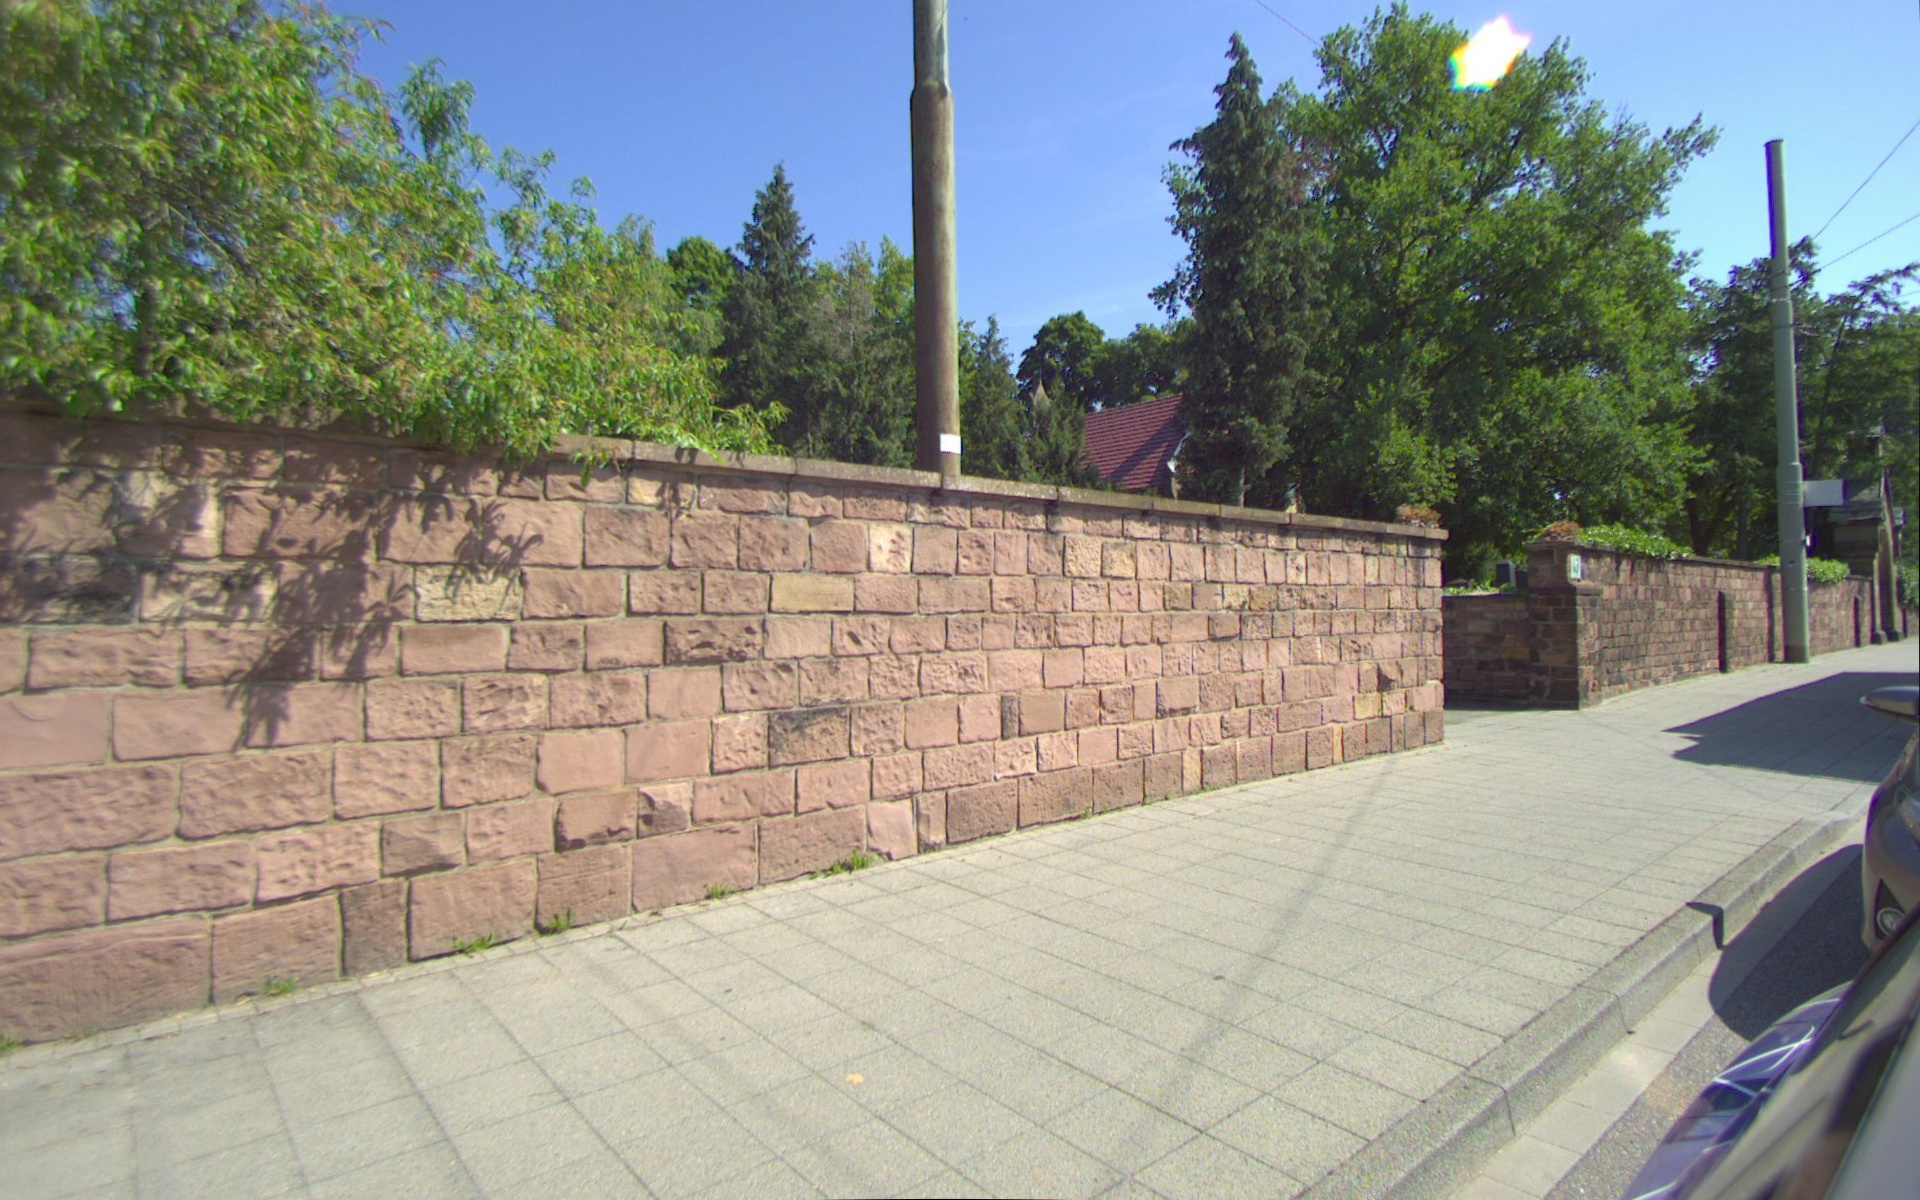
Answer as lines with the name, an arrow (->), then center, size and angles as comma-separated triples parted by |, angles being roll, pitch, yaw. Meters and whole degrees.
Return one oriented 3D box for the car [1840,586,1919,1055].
car -> 5.068, 0.671, 4.042 | 4.384, 1.451, 1.741 | 0, 0, -41
